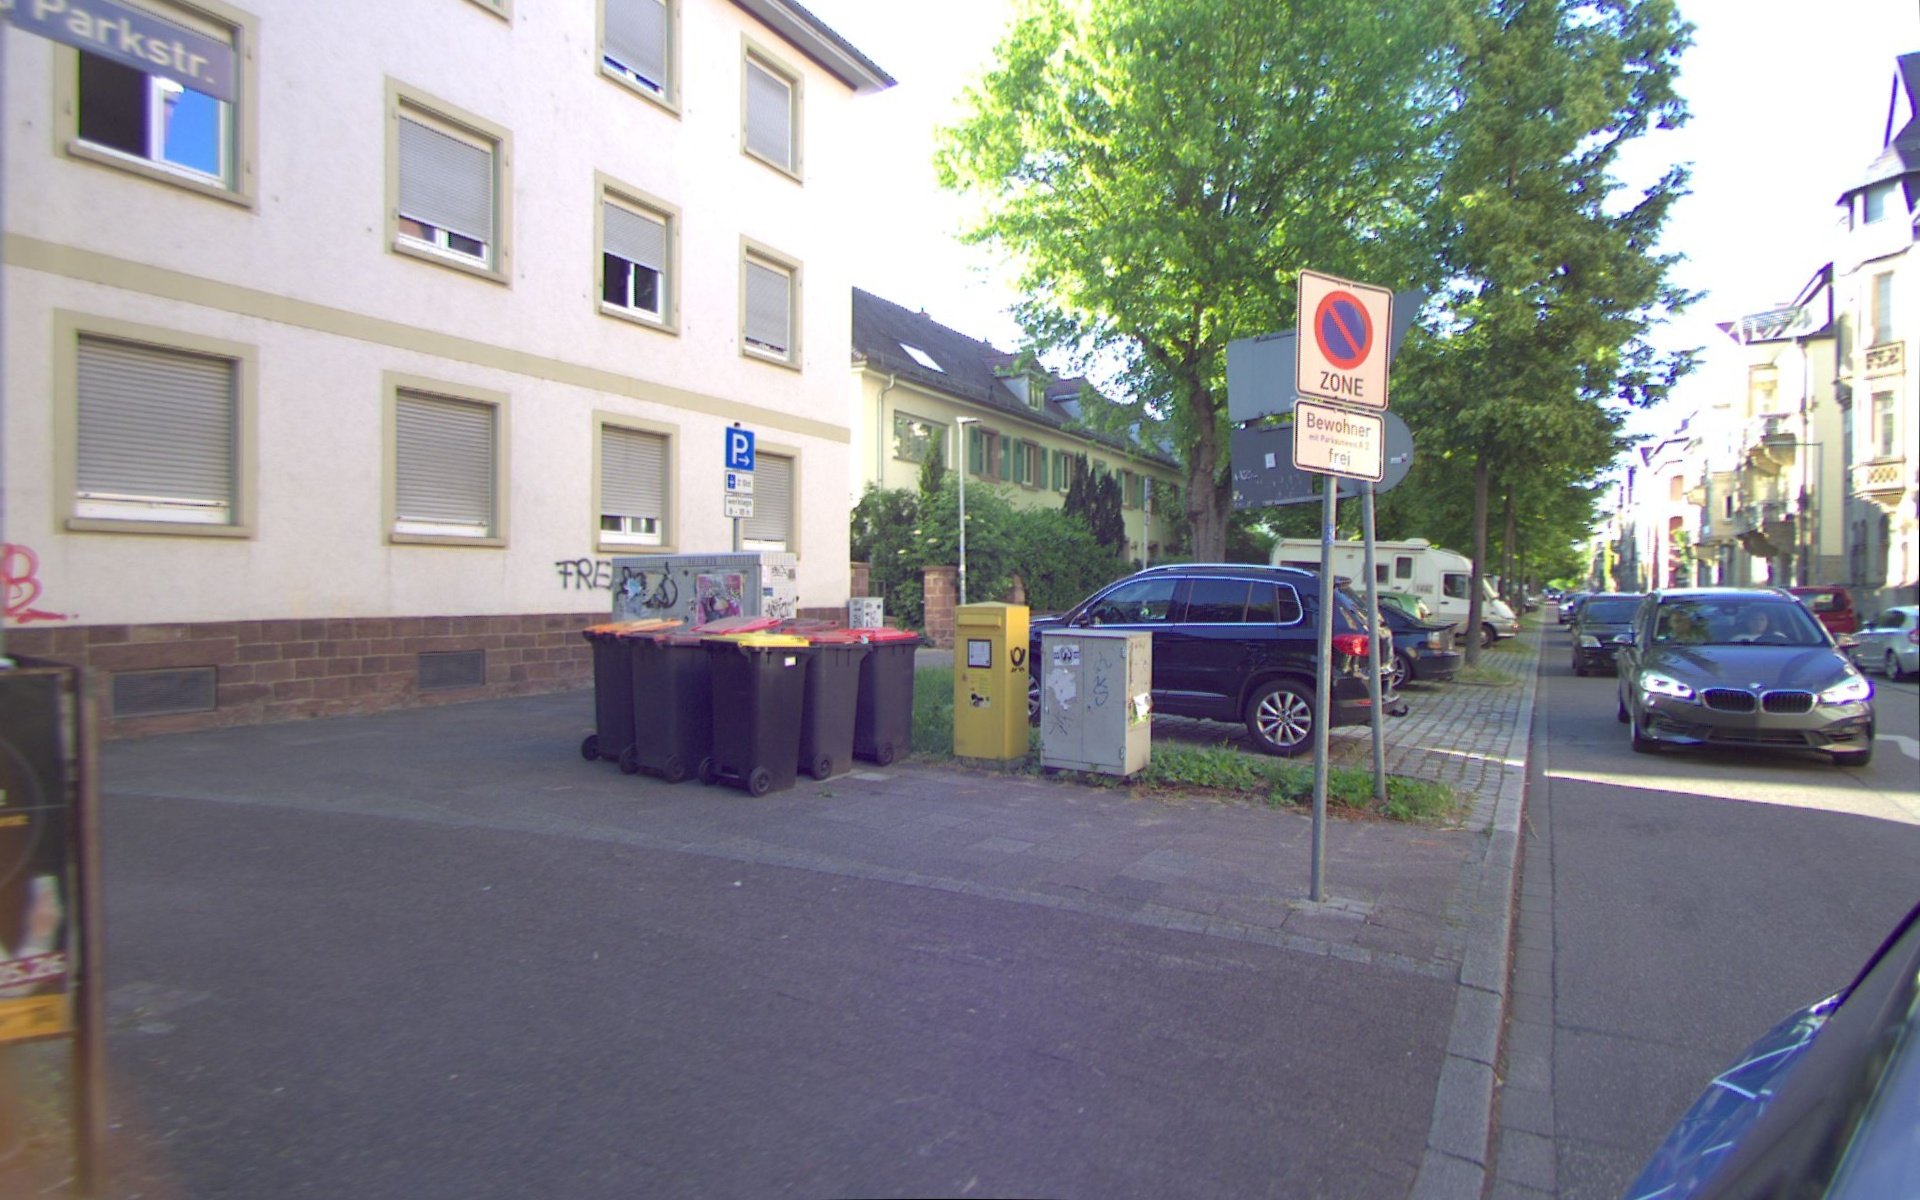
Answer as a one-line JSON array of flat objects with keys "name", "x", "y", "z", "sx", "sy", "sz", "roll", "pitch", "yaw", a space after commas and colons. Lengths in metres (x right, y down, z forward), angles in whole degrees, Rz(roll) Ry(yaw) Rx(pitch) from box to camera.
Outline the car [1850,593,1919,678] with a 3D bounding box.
[{"name": "car", "x": 18.756, "y": 0.615, "z": 19.353, "sx": 1.734, "sy": 1.485, "sz": 4.062, "roll": 0, "pitch": 0, "yaw": 29}]

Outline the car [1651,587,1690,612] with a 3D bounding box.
[{"name": "car", "x": 45.296, "y": -0.054, "z": 64.594, "sx": 1.735, "sy": 1.484, "sz": 3.953, "roll": -1, "pitch": 0, "yaw": 32}]

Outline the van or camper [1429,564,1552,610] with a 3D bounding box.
[{"name": "van or camper", "x": 35.635, "y": -0.900, "z": 68.090, "sx": 7.214, "sy": 2.940, "sz": 2.401, "roll": 1, "pitch": 2, "yaw": 32}]

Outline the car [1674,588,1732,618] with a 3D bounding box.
[{"name": "car", "x": 38.998, "y": 0.137, "z": 53.206, "sx": 1.890, "sy": 1.457, "sz": 4.493, "roll": -4, "pitch": -1, "yaw": 30}]

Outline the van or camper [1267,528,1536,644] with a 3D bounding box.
[{"name": "van or camper", "x": 12.913, "y": -0.428, "z": 29.881, "sx": 7.037, "sy": 3.116, "sz": 2.440, "roll": 1, "pitch": 1, "yaw": 29}]

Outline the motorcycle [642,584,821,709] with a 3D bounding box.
[{"name": "motorcycle", "x": -2.581, "y": 0.475, "z": 11.764, "sx": 0.967, "sy": 1.296, "sz": 2.166, "roll": 1, "pitch": 1, "yaw": 22}]

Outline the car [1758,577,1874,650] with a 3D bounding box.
[{"name": "car", "x": 24.249, "y": 0.341, "z": 28.841, "sx": 1.789, "sy": 1.931, "sz": 4.277, "roll": -2, "pitch": 0, "yaw": 31}]

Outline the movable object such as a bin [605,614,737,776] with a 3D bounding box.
[{"name": "movable object such as a bin", "x": -2.118, "y": 0.662, "z": 7.439, "sx": 0.626, "sy": 1.089, "sz": 0.697, "roll": 0, "pitch": 0, "yaw": 32}]

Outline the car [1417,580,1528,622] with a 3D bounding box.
[{"name": "car", "x": 22.757, "y": 0.013, "z": 44.964, "sx": 4.311, "sy": 1.628, "sz": 1.908, "roll": 3, "pitch": 2, "yaw": 31}]

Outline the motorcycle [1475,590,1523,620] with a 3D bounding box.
[{"name": "motorcycle", "x": 22.193, "y": 0.184, "z": 41.711, "sx": 0.722, "sy": 1.212, "sz": 1.780, "roll": 0, "pitch": 1, "yaw": -13}]

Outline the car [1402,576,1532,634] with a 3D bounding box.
[{"name": "car", "x": 17.778, "y": 0.125, "z": 35.502, "sx": 3.897, "sy": 1.765, "sz": 1.710, "roll": 4, "pitch": 3, "yaw": 32}]

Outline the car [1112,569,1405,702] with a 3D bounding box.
[{"name": "car", "x": 4.196, "y": 0.414, "z": 14.392, "sx": 3.681, "sy": 1.671, "sz": 1.683, "roll": 1, "pitch": 1, "yaw": 35}]

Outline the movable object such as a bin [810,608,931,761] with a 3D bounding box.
[{"name": "movable object such as a bin", "x": -0.736, "y": 0.661, "z": 8.385, "sx": 0.734, "sy": 1.167, "sz": 0.708, "roll": 0, "pitch": 0, "yaw": 32}]

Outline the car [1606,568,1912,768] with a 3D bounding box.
[{"name": "car", "x": 8.053, "y": 0.560, "z": 10.671, "sx": 1.910, "sy": 1.627, "sz": 4.467, "roll": -2, "pitch": -1, "yaw": 31}]

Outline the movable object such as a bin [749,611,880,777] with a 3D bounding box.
[{"name": "movable object such as a bin", "x": -1.109, "y": 0.678, "z": 7.759, "sx": 0.734, "sy": 1.167, "sz": 0.693, "roll": 0, "pitch": 0, "yaw": 32}]

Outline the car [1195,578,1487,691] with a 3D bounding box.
[{"name": "car", "x": 6.056, "y": 0.456, "z": 16.213, "sx": 4.088, "sy": 1.429, "sz": 1.772, "roll": 4, "pitch": 2, "yaw": 32}]

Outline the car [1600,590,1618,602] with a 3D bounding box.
[{"name": "car", "x": 79.258, "y": -0.501, "z": 123.594, "sx": 1.689, "sy": 1.397, "sz": 3.957, "roll": 1, "pitch": 1, "yaw": 30}]

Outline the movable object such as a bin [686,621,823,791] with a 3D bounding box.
[{"name": "movable object such as a bin", "x": -1.431, "y": 0.701, "z": 7.076, "sx": 0.654, "sy": 1.077, "sz": 0.687, "roll": 0, "pitch": 0, "yaw": 32}]

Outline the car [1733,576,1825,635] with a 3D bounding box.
[{"name": "car", "x": 27.873, "y": 0.163, "z": 34.578, "sx": 1.761, "sy": 1.875, "sz": 4.492, "roll": -1, "pitch": 0, "yaw": 31}]

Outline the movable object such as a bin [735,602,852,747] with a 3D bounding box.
[{"name": "movable object such as a bin", "x": -1.435, "y": 0.612, "z": 8.767, "sx": 0.734, "sy": 1.167, "sz": 0.693, "roll": 0, "pitch": 0, "yaw": 32}]

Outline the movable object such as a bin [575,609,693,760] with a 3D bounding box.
[{"name": "movable object such as a bin", "x": -2.553, "y": 0.630, "z": 7.942, "sx": 0.588, "sy": 1.097, "sz": 0.666, "roll": 0, "pitch": 0, "yaw": 30}]

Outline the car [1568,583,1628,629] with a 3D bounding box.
[{"name": "car", "x": 26.138, "y": 0.200, "z": 41.569, "sx": 1.984, "sy": 1.777, "sz": 3.956, "roll": 1, "pitch": 1, "yaw": 31}]

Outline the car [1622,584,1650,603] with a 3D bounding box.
[{"name": "car", "x": 61.486, "y": -0.593, "z": 92.068, "sx": 1.848, "sy": 1.624, "sz": 3.957, "roll": -2, "pitch": -1, "yaw": 31}]

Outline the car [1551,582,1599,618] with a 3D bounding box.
[{"name": "car", "x": 31.244, "y": -0.033, "z": 51.480, "sx": 1.984, "sy": 1.777, "sz": 3.956, "roll": 1, "pitch": 1, "yaw": 31}]

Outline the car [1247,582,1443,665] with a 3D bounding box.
[{"name": "car", "x": 8.049, "y": 0.436, "z": 21.210, "sx": 3.574, "sy": 1.524, "sz": 1.658, "roll": 2, "pitch": 1, "yaw": 33}]

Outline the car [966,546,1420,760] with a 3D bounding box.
[{"name": "car", "x": 2.330, "y": 0.387, "z": 10.170, "sx": 4.080, "sy": 1.734, "sz": 2.005, "roll": 2, "pitch": 1, "yaw": 27}]

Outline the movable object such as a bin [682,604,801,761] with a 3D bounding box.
[{"name": "movable object such as a bin", "x": -1.741, "y": 0.623, "z": 8.090, "sx": 0.629, "sy": 1.167, "sz": 0.693, "roll": 0, "pitch": 0, "yaw": 32}]

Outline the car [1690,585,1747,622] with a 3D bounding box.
[{"name": "car", "x": 34.306, "y": 0.156, "z": 45.846, "sx": 1.675, "sy": 1.528, "sz": 2.830, "roll": -4, "pitch": -1, "yaw": 31}]

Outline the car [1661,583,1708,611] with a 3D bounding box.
[{"name": "car", "x": 41.824, "y": -0.186, "z": 58.491, "sx": 1.679, "sy": 1.485, "sz": 3.736, "roll": -4, "pitch": -1, "yaw": 29}]

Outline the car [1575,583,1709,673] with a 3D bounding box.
[{"name": "car", "x": 13.689, "y": 0.511, "z": 20.540, "sx": 1.984, "sy": 1.613, "sz": 4.215, "roll": -1, "pitch": -1, "yaw": 31}]

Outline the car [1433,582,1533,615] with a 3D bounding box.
[{"name": "car", "x": 27.285, "y": -0.121, "z": 52.827, "sx": 4.440, "sy": 1.496, "sz": 1.733, "roll": 3, "pitch": 2, "yaw": 33}]
